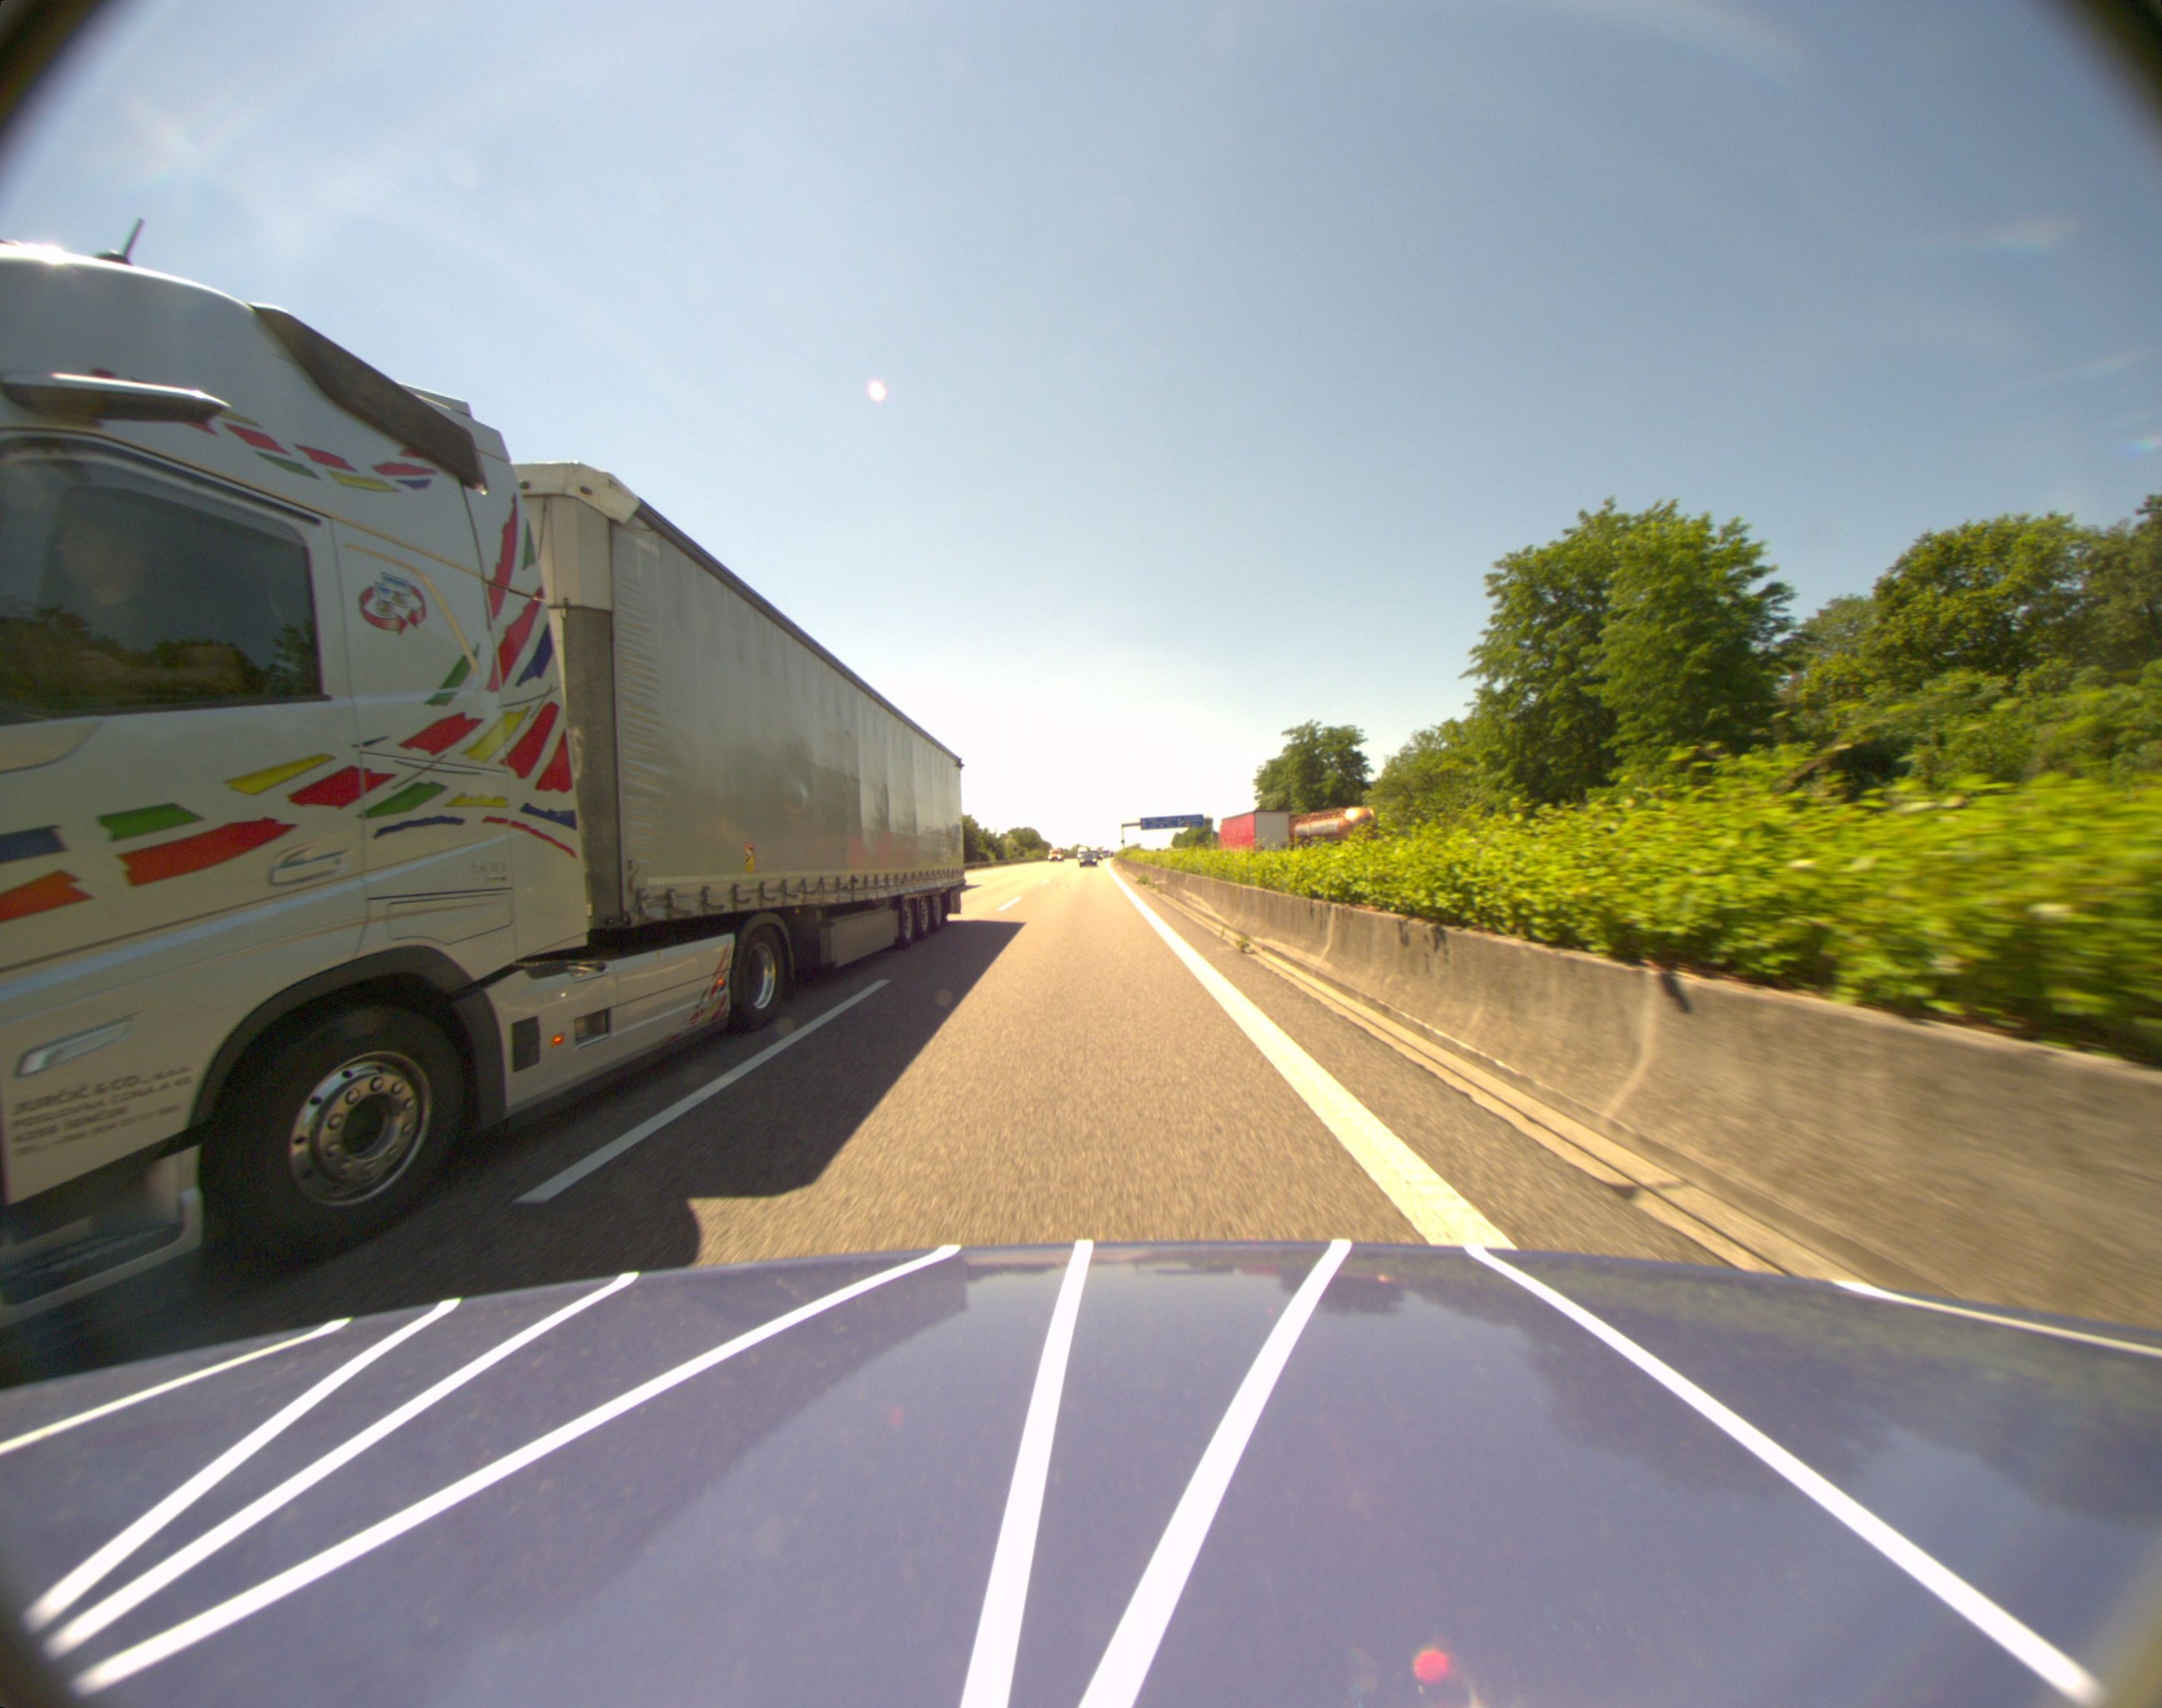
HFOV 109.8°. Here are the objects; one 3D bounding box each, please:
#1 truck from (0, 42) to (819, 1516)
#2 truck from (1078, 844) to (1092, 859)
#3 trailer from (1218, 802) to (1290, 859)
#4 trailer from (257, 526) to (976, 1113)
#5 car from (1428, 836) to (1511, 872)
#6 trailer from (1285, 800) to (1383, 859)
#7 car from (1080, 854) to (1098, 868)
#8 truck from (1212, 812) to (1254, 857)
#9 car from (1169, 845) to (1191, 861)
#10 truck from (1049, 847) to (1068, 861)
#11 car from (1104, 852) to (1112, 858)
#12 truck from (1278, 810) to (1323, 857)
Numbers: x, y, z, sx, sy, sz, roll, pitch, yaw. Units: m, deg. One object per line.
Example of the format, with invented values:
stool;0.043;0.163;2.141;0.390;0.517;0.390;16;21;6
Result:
truck;-4.222;-0.218;4.684;2.729;3.952;6.501;-2;1;1
truck;0.965;-0.460;167.667;2.859;3.163;10.711;-2;0;1
trailer;13.540;-1.711;60.928;2.472;3.913;14.399;-2;0;0
trailer;-4.146;-0.272;12.082;2.747;3.952;13.653;-2;0;1
car;17.688;-0.013;34.805;1.725;1.471;4.000;-2;0;0
trailer;17.654;-1.598;54.383;2.377;3.575;14.219;-2;0;1
car;0.840;0.752;82.016;1.800;1.390;4.832;-2;0;-1
truck;13.568;-1.707;68.065;2.471;3.766;5.728;-2;1;0
car;10.188;-0.107;78.171;1.699;1.592;3.999;-2;1;0
truck;-4.072;0.028;140.224;2.436;2.426;10.011;-2;0;4
car;7.449;0.315;208.530;1.879;1.630;4.000;-2;0;0
truck;17.732;-1.649;61.573;2.363;3.581;4.163;-2;1;0
